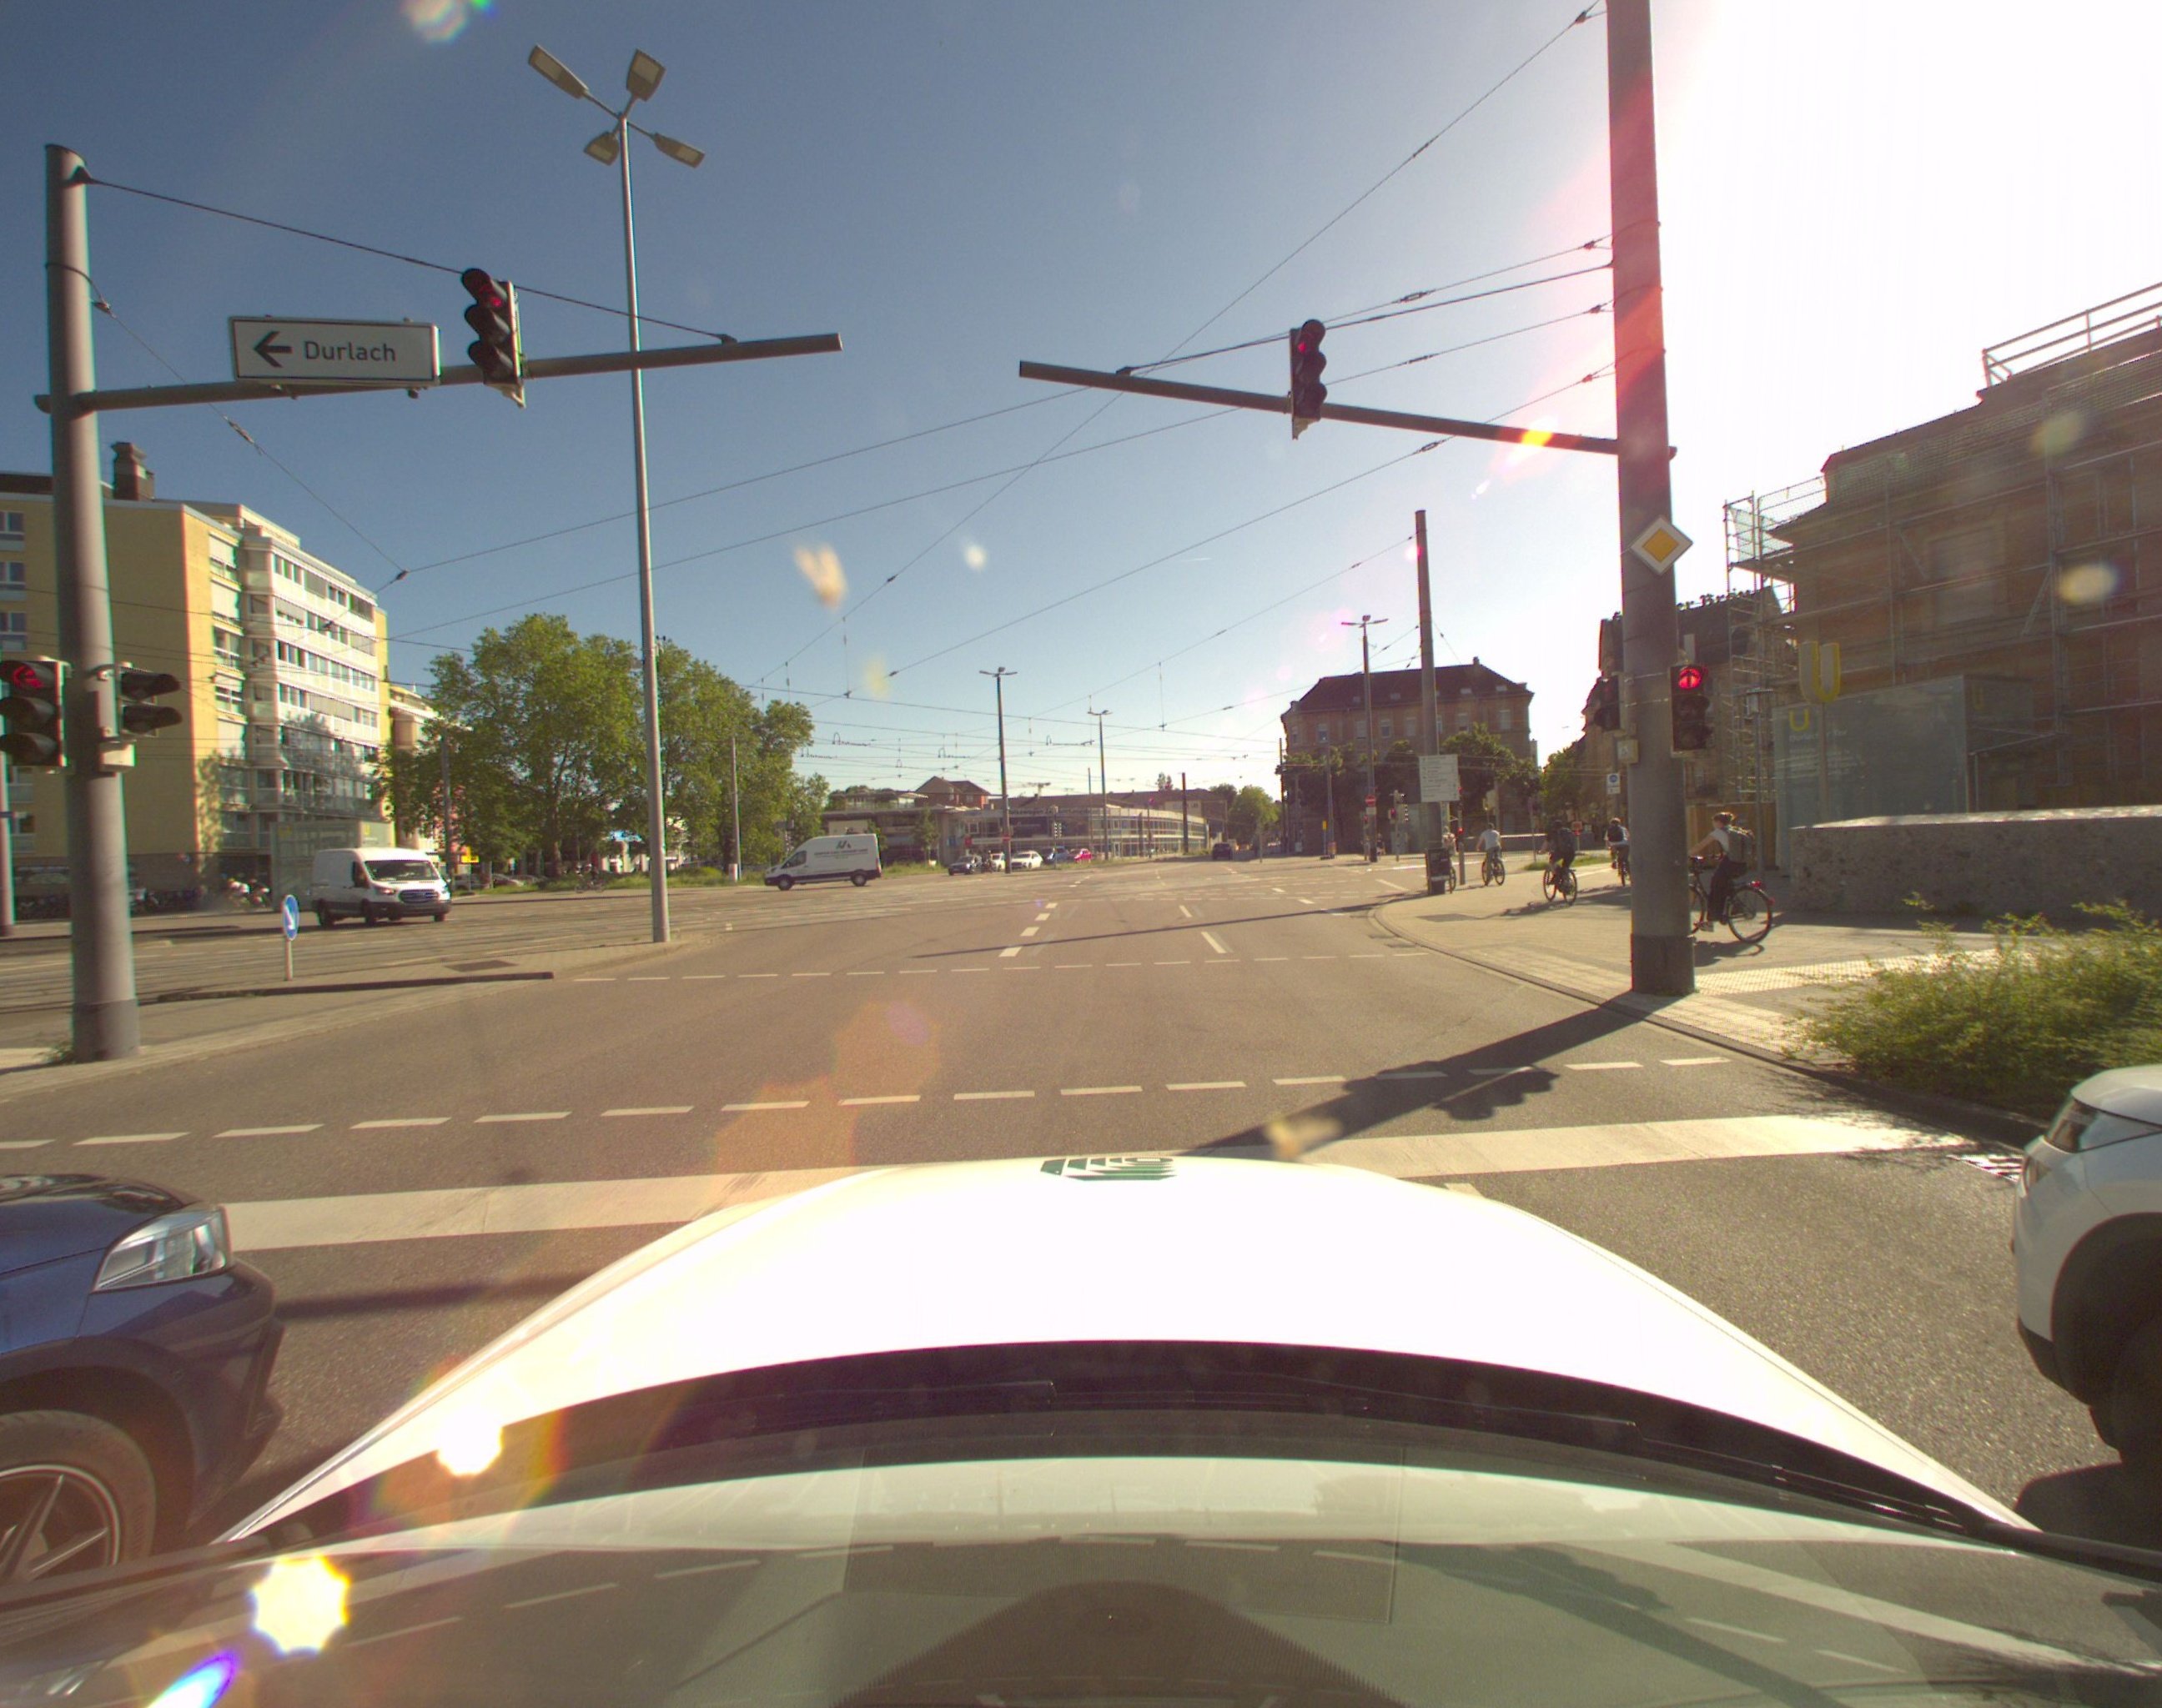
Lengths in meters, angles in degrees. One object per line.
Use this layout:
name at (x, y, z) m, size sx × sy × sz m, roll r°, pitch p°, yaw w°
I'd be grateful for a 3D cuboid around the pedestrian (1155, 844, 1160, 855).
pedestrian at (11.438, -0.643, 122.193) m, size 0.537 × 1.688 × 0.633 m, roll -2°, pitch 0°, yaw 21°

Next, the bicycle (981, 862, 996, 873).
bicycle at (-6.872, 0.999, 60.672) m, size 0.419 × 0.718 × 1.642 m, roll -2°, pitch 0°, yaw 19°

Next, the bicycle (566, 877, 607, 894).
bicycle at (-29.659, 1.894, 48.865) m, size 2.012 × 0.913 × 0.558 m, roll -2°, pitch 0°, yaw -21°

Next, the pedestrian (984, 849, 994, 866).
pedestrian at (-6.842, 0.272, 60.855) m, size 0.419 × 1.204 × 0.753 m, roll -2°, pitch 0°, yaw 19°

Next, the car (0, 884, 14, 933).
car at (-39.032, 1.956, 27.039) m, size 4.063 × 1.659 × 1.862 m, roll -2°, pitch 0°, yaw -13°

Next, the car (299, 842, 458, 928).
car at (-22.558, 0.999, 26.099) m, size 5.350 × 2.508 × 2.012 m, roll -2°, pitch 0°, yaw 28°

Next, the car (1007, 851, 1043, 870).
car at (-4.477, 0.520, 65.221) m, size 1.613 × 1.382 × 3.754 m, roll -2°, pitch 0°, yaw 17°

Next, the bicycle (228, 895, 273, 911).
bicycle at (-44.135, 2.612, 43.282) m, size 1.634 × 0.718 × 0.421 m, roll -2°, pitch 0°, yaw -18°

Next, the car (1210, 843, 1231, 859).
car at (13.776, -0.313, 80.419) m, size 1.687 × 1.503 × 4.281 m, roll -2°, pitch 0°, yaw 13°

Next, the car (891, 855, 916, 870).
car at (-21.876, 1.079, 100.591) m, size 1.958 × 1.706 × 4.085 m, roll -2°, pitch 0°, yaw 2°

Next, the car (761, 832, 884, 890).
car at (-13.602, 0.357, 43.099) m, size 5.920 × 2.744 × 2.131 m, roll -2°, pitch 0°, yaw -18°

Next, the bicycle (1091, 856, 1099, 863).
bicycle at (1.684, 0.657, 97.240) m, size 0.419 × 0.718 × 1.483 m, roll -2°, pitch 0°, yaw 22°

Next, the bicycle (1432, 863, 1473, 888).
bicycle at (10.862, 0.621, 23.845) m, size 0.534 × 0.655 × 1.728 m, roll -5°, pitch 0°, yaw 6°

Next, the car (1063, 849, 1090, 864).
car at (-0.446, 0.250, 86.284) m, size 1.613 × 1.364 × 3.703 m, roll -2°, pitch 0°, yaw 18°

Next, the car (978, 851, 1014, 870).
car at (-6.983, 0.554, 67.164) m, size 1.613 × 1.424 × 3.702 m, roll -2°, pitch 0°, yaw 17°

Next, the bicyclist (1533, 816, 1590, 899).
bicyclist at (10.063, 0.065, 17.071) m, size 0.621 × 1.637 × 0.998 m, roll -4°, pitch 0°, yaw 10°

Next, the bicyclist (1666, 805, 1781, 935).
bicyclist at (8.501, 0.205, 10.819) m, size 0.681 × 1.598 × 0.979 m, roll -5°, pitch 0°, yaw 6°

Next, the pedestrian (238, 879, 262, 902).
pedestrian at (-44.163, 1.936, 43.280) m, size 0.749 × 1.127 × 0.421 m, roll -2°, pitch 0°, yaw -18°

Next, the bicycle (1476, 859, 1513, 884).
bicycle at (12.332, 0.515, 24.347) m, size 0.534 × 0.655 × 1.471 m, roll -3°, pitch 0°, yaw 9°

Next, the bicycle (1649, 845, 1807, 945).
bicycle at (8.532, 0.497, 10.858) m, size 0.681 × 1.163 × 1.887 m, roll -5°, pitch 0°, yaw 6°

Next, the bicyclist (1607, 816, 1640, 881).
bicyclist at (13.570, -0.150, 20.384) m, size 0.566 × 1.568 × 0.953 m, roll -3°, pitch 0°, yaw 31°

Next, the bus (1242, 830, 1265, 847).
bus at (41.647, -3.626, 195.853) m, size 3.808 × 3.607 × 24.967 m, roll -1°, pitch 0°, yaw 15°

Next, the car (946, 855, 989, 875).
car at (-8.502, 0.803, 61.240) m, size 1.689 × 1.354 × 3.719 m, roll -2°, pitch 0°, yaw 19°

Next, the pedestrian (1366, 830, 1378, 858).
pedestrian at (21.343, -0.711, 59.675) m, size 0.574 × 2.013 × 0.449 m, roll -3°, pitch 0°, yaw -16°

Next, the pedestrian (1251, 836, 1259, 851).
pedestrian at (19.816, -1.166, 92.775) m, size 0.796 × 1.632 × 0.722 m, roll -2°, pitch 0°, yaw 20°

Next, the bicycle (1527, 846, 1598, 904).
bicycle at (10.103, 0.404, 17.154) m, size 0.621 × 1.114 × 1.856 m, roll -4°, pitch 0°, yaw 10°

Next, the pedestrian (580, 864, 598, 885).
pedestrian at (-29.566, 1.242, 48.911) m, size 0.797 × 1.204 × 0.556 m, roll -2°, pitch 0°, yaw -21°

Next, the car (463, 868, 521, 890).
car at (-51.375, 2.150, 71.079) m, size 3.742 × 1.662 × 1.585 m, roll -2°, pitch 0°, yaw -18°

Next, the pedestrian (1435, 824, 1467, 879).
pedestrian at (10.793, -0.082, 23.775) m, size 0.545 × 1.562 × 0.859 m, roll -2°, pitch 0°, yaw 6°

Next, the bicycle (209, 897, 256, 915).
bicycle at (-43.533, 2.662, 41.781) m, size 1.635 × 0.758 × 0.421 m, roll -2°, pitch 0°, yaw -21°

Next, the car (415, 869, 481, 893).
car at (-49.801, 2.121, 64.156) m, size 3.742 × 1.662 × 1.585 m, roll -2°, pitch 0°, yaw -18°

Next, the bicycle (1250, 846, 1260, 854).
bicycle at (19.752, -0.459, 92.423) m, size 0.737 × 0.870 × 1.941 m, roll -2°, pitch 0°, yaw 20°

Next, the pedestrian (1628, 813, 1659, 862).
pedestrian at (22.131, -0.660, 32.037) m, size 0.887 × 1.859 × 0.933 m, roll -2°, pitch 0°, yaw 36°

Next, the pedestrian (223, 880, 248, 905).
pedestrian at (-43.414, 1.968, 41.838) m, size 0.750 × 1.204 × 0.421 m, roll -2°, pitch 0°, yaw -20°

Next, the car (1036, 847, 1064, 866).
car at (-2.997, 0.242, 79.214) m, size 1.613 × 1.692 × 3.702 m, roll -2°, pitch 0°, yaw 17°

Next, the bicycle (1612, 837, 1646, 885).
bicycle at (13.698, 0.160, 20.393) m, size 0.566 × 1.125 × 1.751 m, roll -3°, pitch 0°, yaw 31°

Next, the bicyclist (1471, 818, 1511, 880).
bicyclist at (12.302, -0.153, 24.472) m, size 0.742 × 1.778 × 0.926 m, roll -3°, pitch 0°, yaw 9°

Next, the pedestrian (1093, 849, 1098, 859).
pedestrian at (1.719, -0.001, 97.397) m, size 0.419 × 1.204 × 0.684 m, roll -2°, pitch 0°, yaw 21°

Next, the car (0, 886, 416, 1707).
car at (-2.666, 0.816, 0.119) m, size 1.704 × 1.445 × 4.034 m, roll -1°, pitch 0°, yaw 2°

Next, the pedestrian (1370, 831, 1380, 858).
pedestrian at (21.817, -0.713, 60.360) m, size 0.461 × 2.013 × 0.449 m, roll -3°, pitch 0°, yaw -16°
